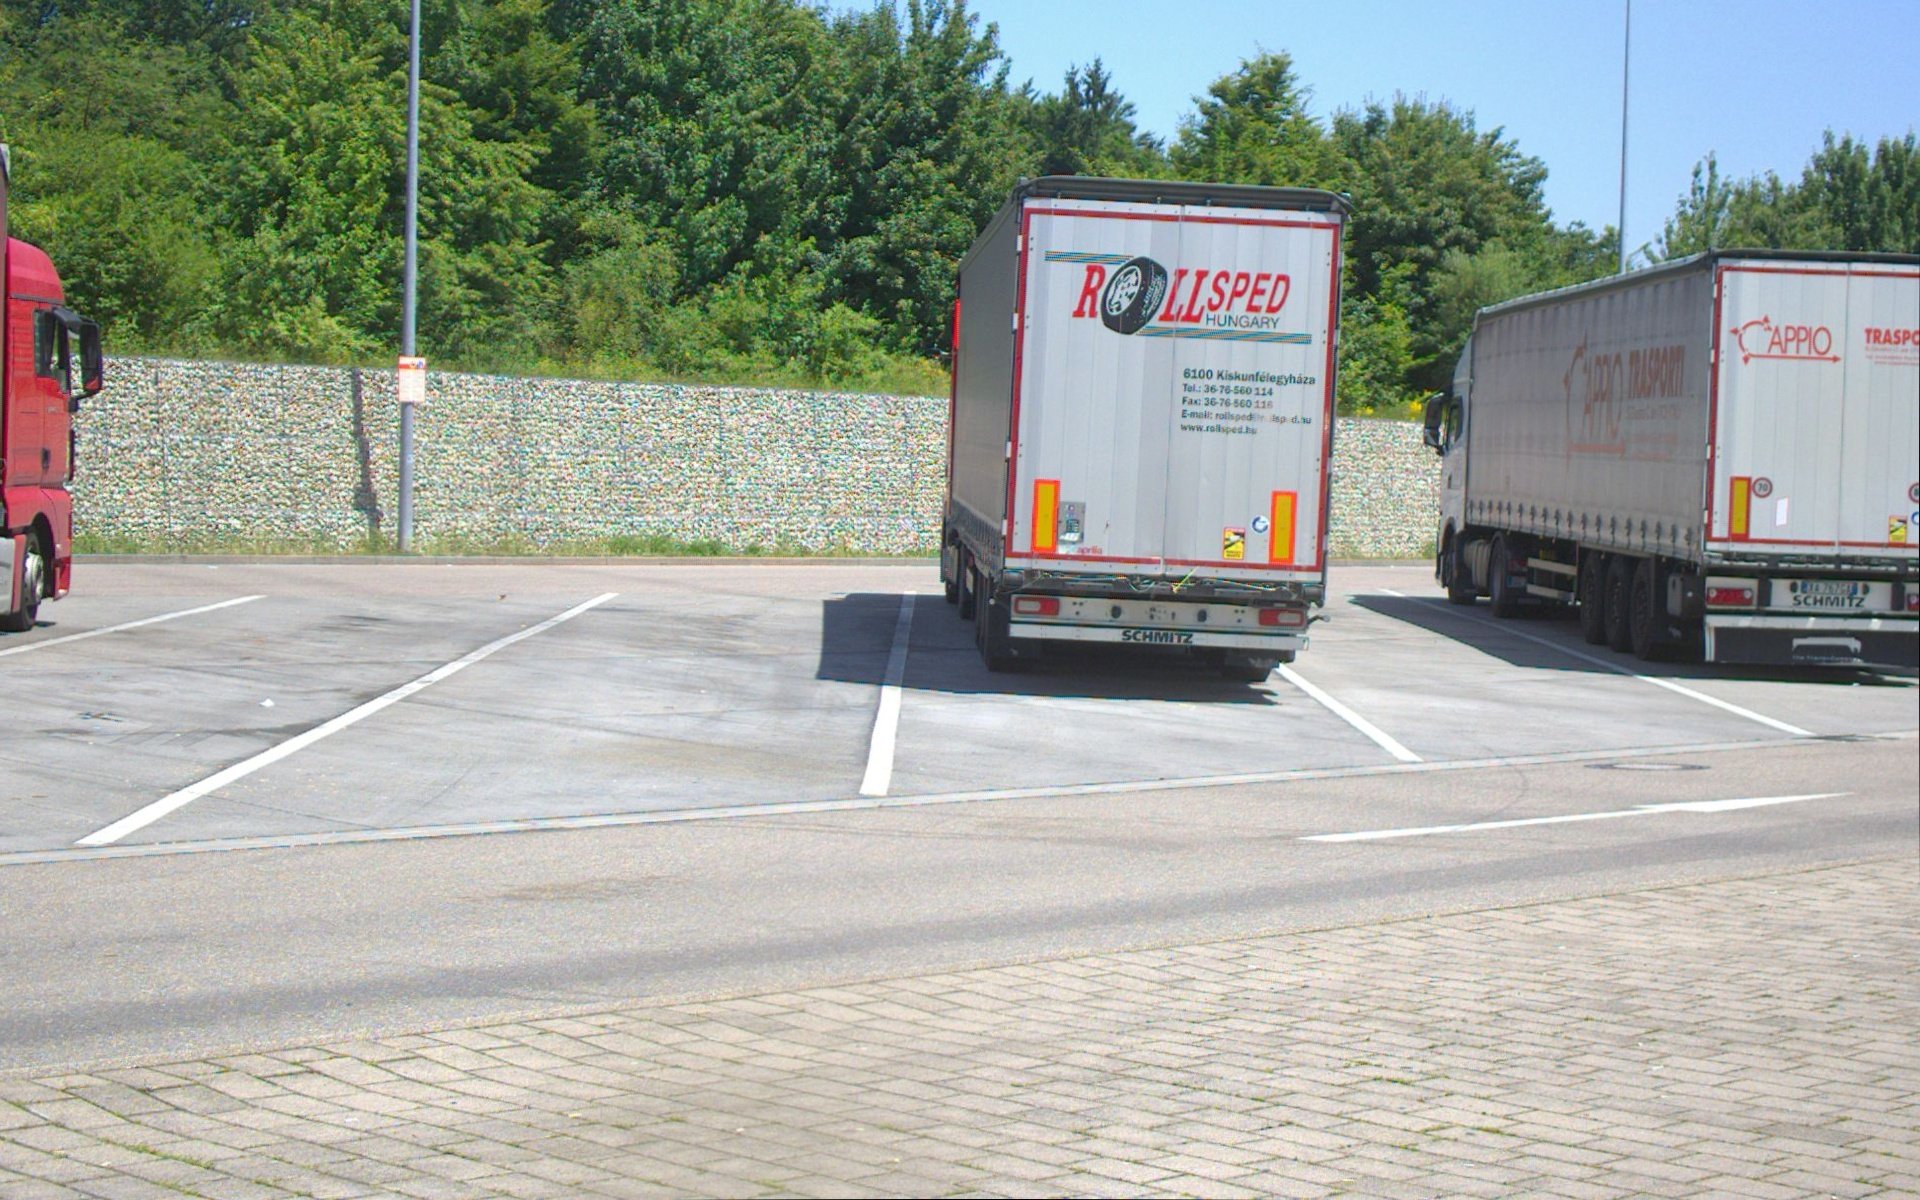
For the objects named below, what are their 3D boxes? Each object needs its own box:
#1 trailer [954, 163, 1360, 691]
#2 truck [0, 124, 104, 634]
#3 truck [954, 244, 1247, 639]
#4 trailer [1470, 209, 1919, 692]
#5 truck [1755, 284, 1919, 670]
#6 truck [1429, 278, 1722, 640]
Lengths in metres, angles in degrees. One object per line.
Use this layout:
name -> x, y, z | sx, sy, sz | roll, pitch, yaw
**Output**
trailer -> 1.494, -1.500, 31.962 | 2.897, 4.000, 11.318 | 1, 2, -1
truck -> -9.171, -1.813, 28.350 | 2.805, 4.119, 5.894 | 1, 2, -1
truck -> 1.413, -1.696, 37.804 | 2.871, 3.967, 6.030 | 1, 2, -1
trailer -> 8.118, -1.578, 38.166 | 2.681, 4.437, 12.831 | 1, 2, -1
truck -> 11.735, -1.338, 38.732 | 2.587, 4.211, 11.971 | 1, 1, -1
truck -> 7.985, -1.829, 45.307 | 2.661, 4.437, 5.864 | 1, 2, -1
